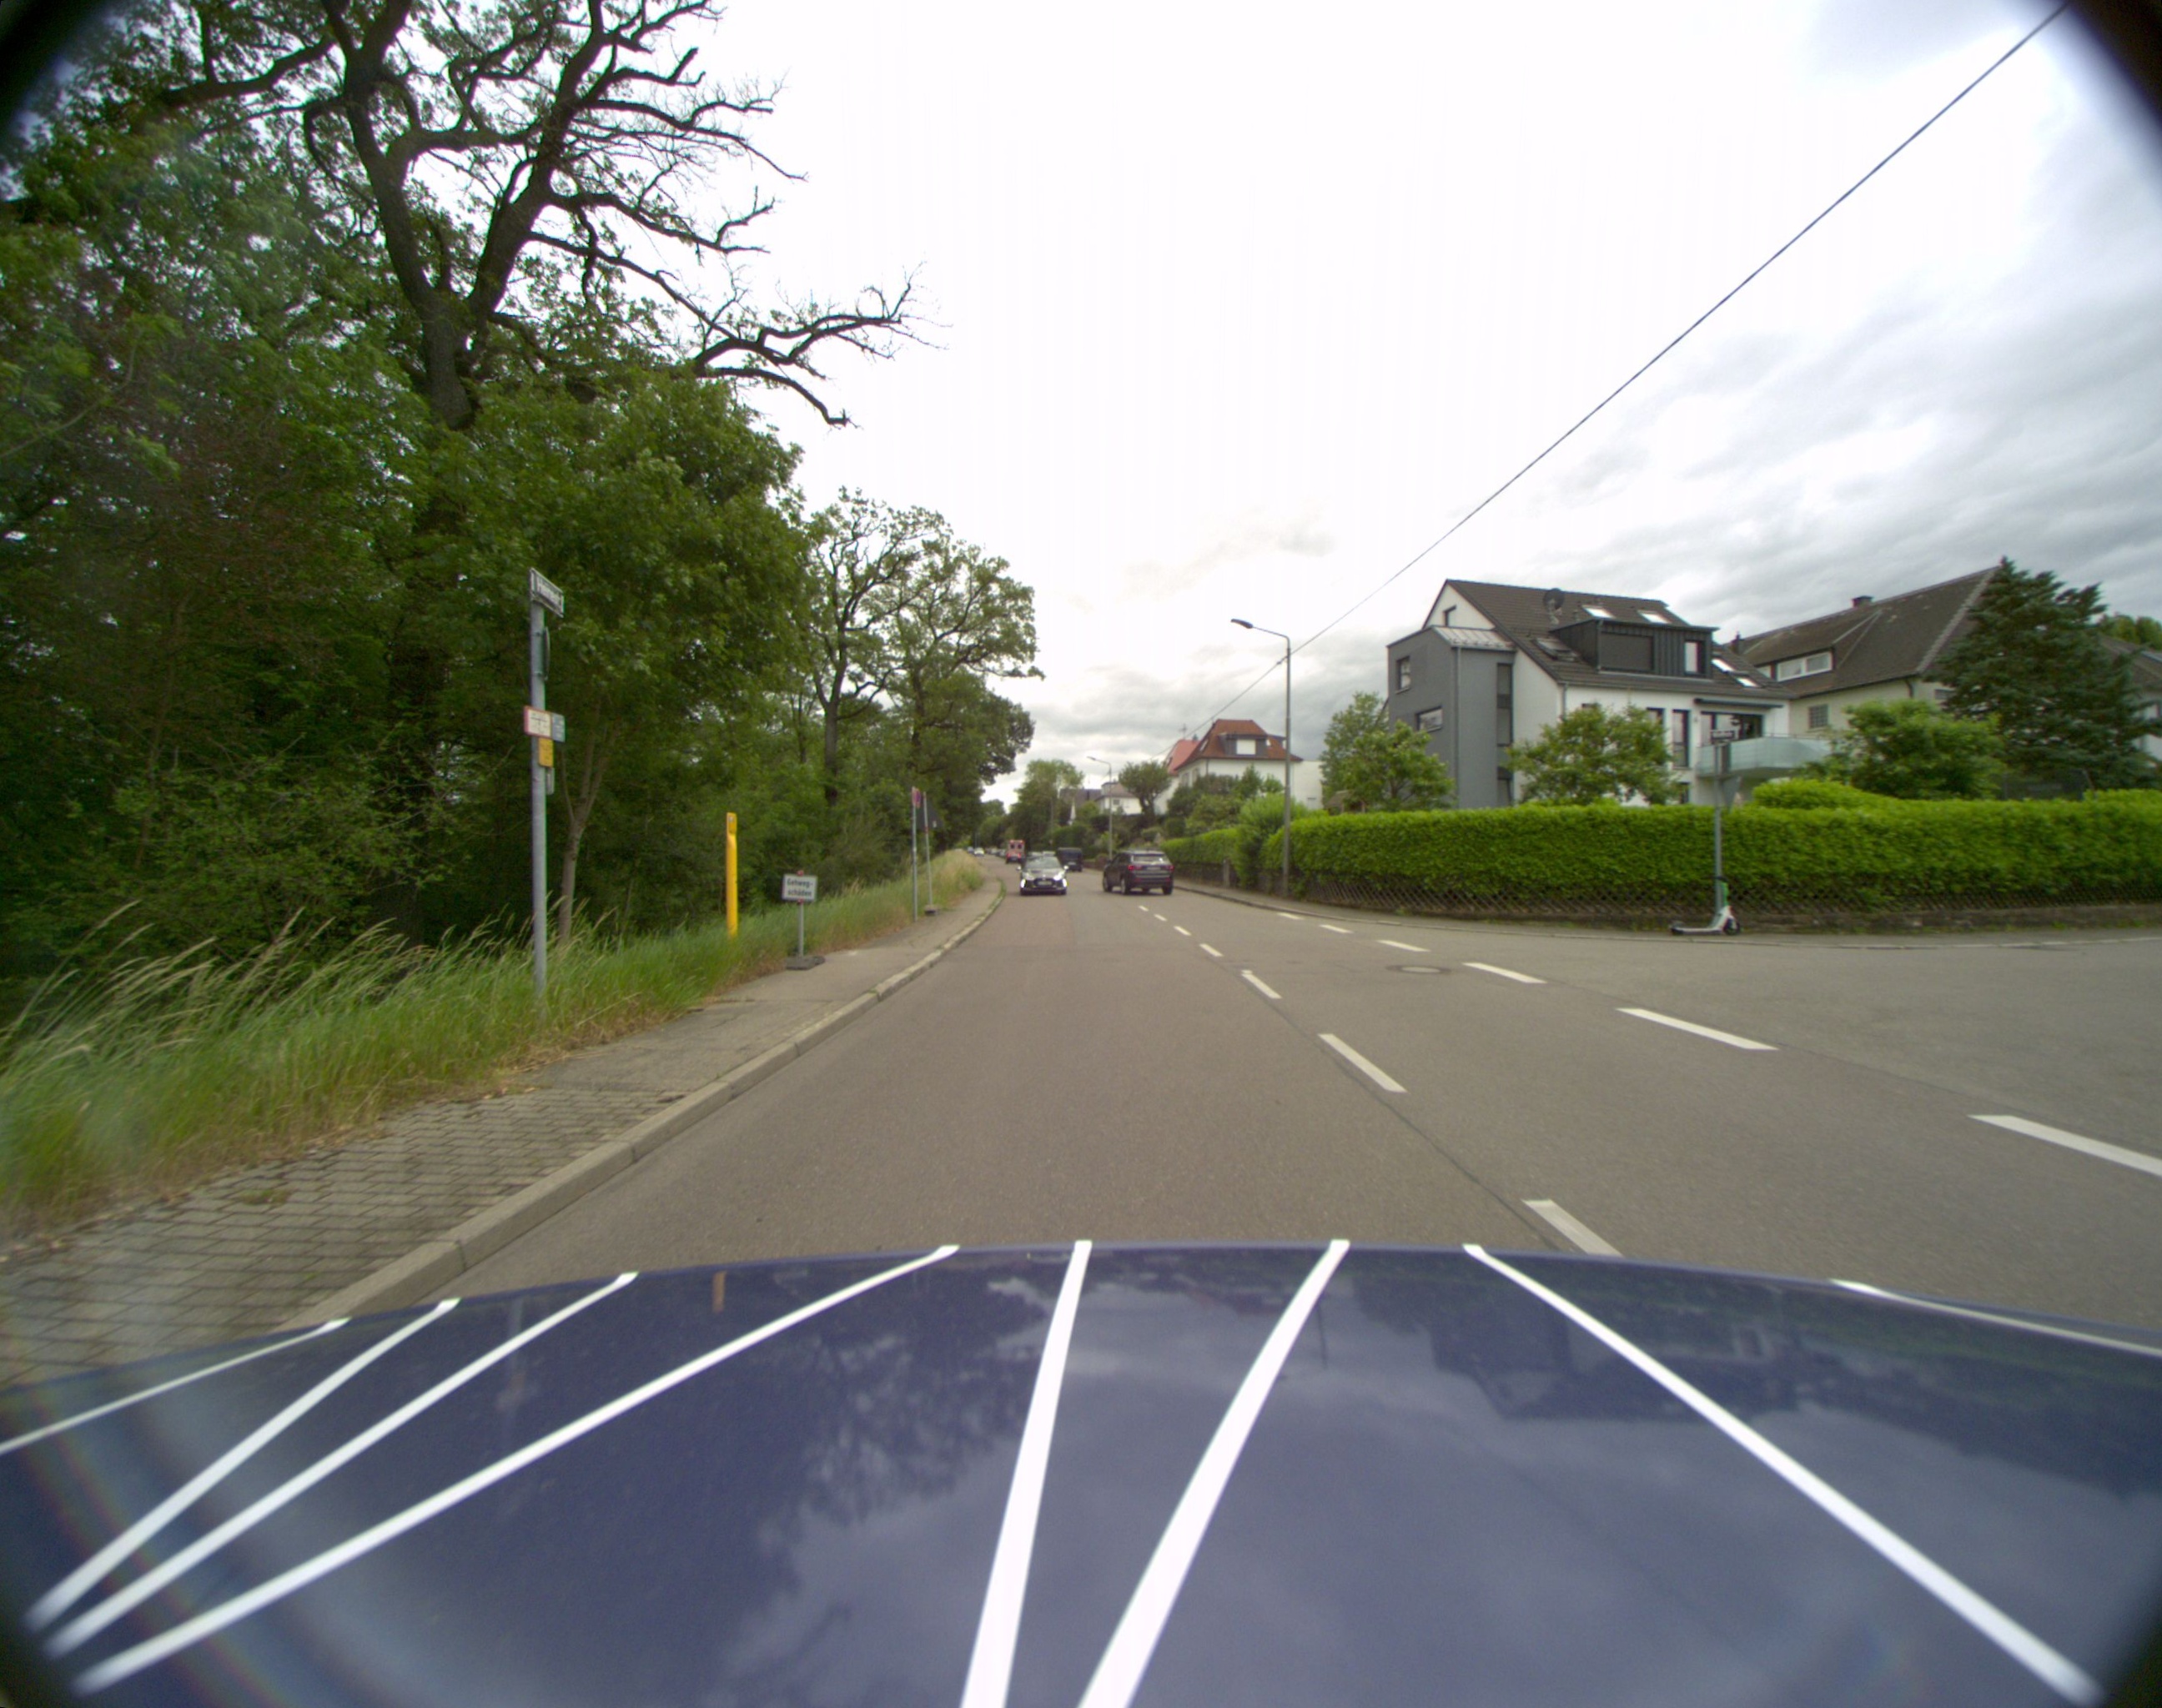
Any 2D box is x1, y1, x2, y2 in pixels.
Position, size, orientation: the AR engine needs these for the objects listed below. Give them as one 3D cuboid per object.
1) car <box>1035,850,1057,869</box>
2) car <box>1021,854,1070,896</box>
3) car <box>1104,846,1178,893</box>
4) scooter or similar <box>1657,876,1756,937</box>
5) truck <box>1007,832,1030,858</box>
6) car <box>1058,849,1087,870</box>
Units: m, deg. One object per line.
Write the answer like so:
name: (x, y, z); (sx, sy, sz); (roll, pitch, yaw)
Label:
car: (-3.399, 0.463, 73.300); (1.833, 1.665, 3.996); (0, 2, -6)
car: (-1.386, 0.765, 29.366); (1.730, 1.449, 3.853); (-1, 1, -3)
car: (2.153, 0.508, 28.345); (1.819, 1.590, 3.952); (-1, 1, -10)
scooter or similar: (11.933, 0.999, 14.520); (1.454, 1.095, 0.455); (-1, 4, 2)
truck: (-8.857, -1.274, 107.348); (3.008, 3.618, 7.082); (0, 1, -7)
car: (-0.700, 0.398, 59.565); (1.876, 1.569, 3.997); (0, 1, -6)
